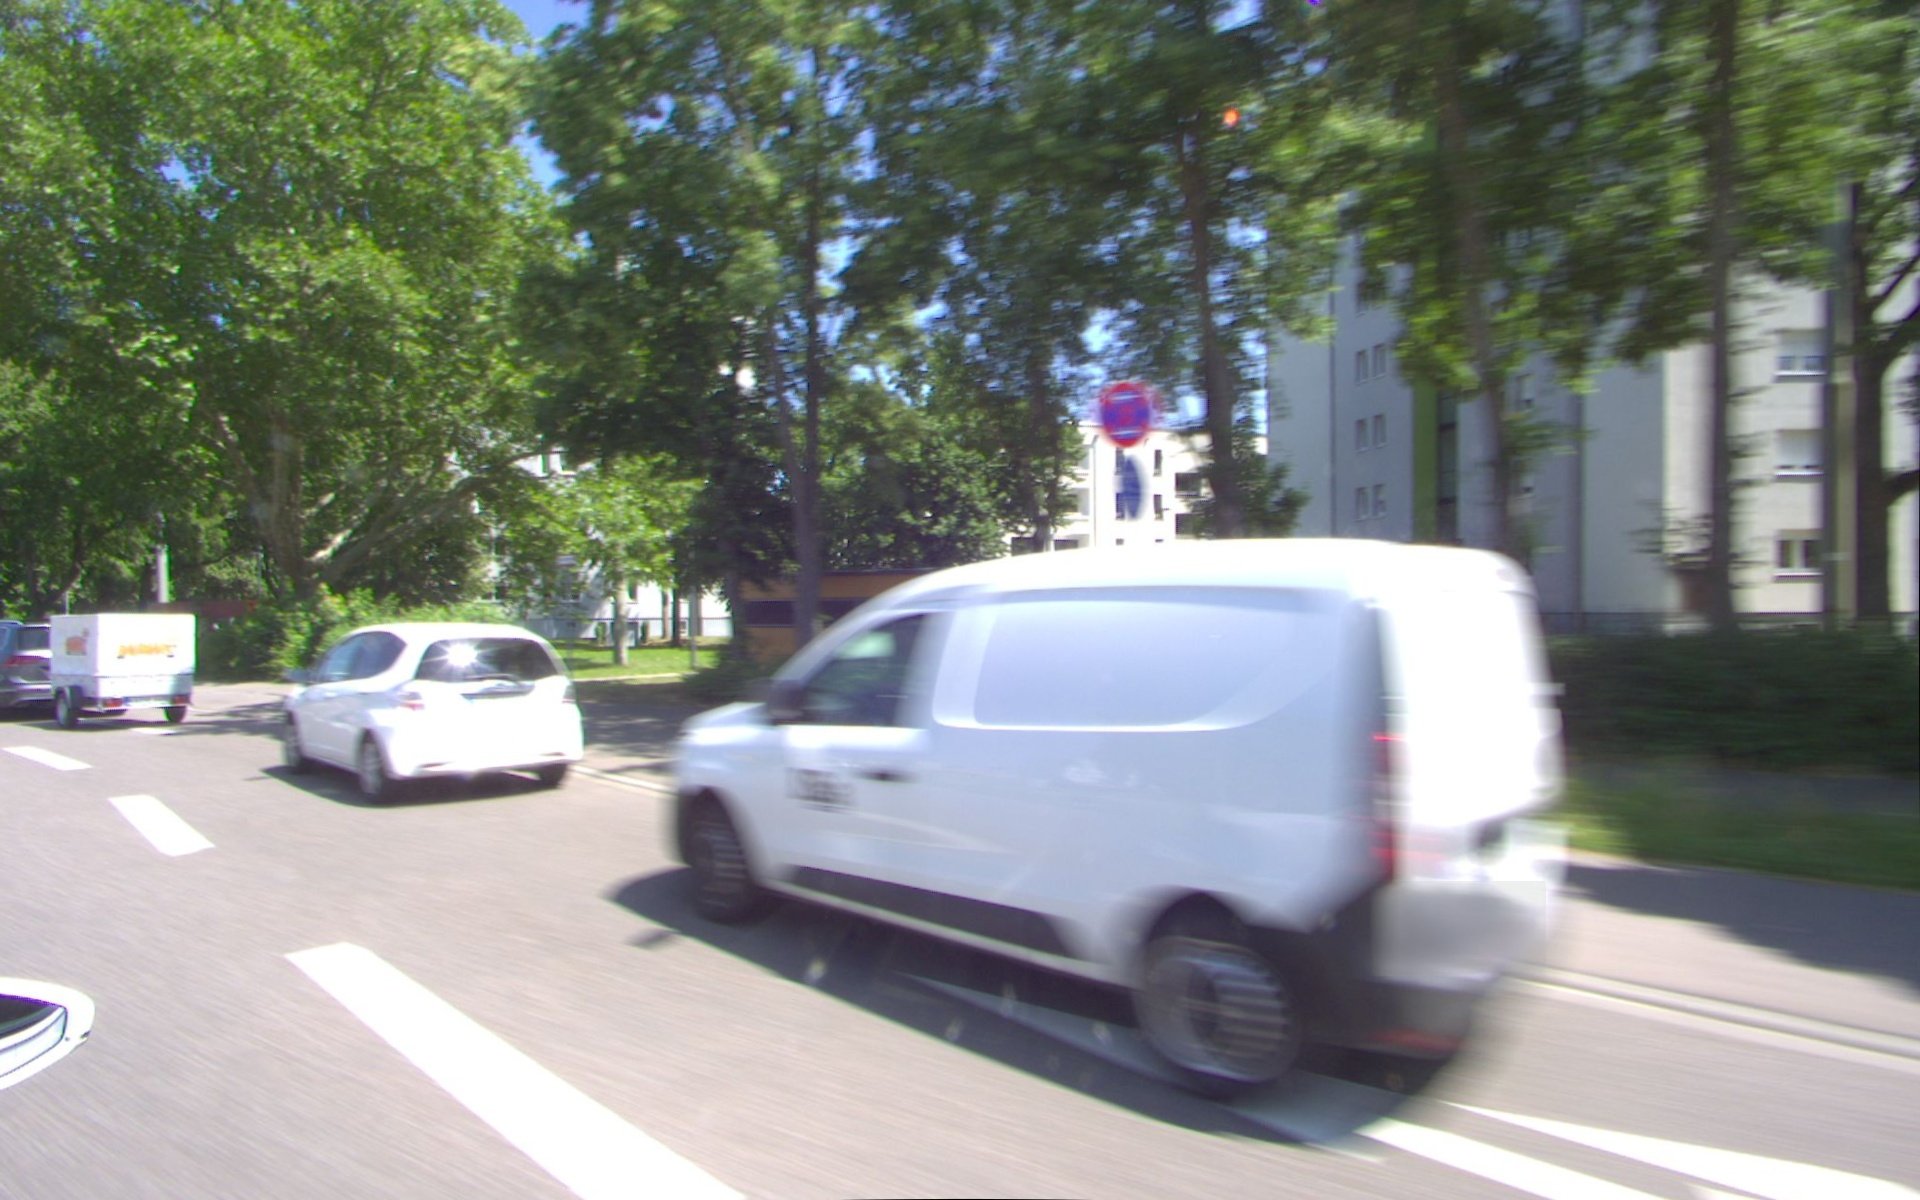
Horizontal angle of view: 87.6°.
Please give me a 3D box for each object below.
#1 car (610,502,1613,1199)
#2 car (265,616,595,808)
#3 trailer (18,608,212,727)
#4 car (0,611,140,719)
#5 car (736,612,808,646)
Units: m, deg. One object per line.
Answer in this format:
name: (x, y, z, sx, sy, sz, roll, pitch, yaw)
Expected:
car: (0.301, 0.688, 4.630, 4.377, 1.769, 1.702, -1, -2, 41)
car: (-5.303, 0.929, 9.814, 3.836, 1.507, 1.711, -1, -2, 43)
trailer: (-13.144, 0.992, 15.564, 2.814, 1.690, 1.467, 0, -1, 31)
car: (-16.224, 1.051, 17.420, 4.334, 1.675, 1.697, 0, -2, 31)
car: (-9.962, 1.530, 53.036, 3.681, 1.723, 1.739, 1, -1, -14)
